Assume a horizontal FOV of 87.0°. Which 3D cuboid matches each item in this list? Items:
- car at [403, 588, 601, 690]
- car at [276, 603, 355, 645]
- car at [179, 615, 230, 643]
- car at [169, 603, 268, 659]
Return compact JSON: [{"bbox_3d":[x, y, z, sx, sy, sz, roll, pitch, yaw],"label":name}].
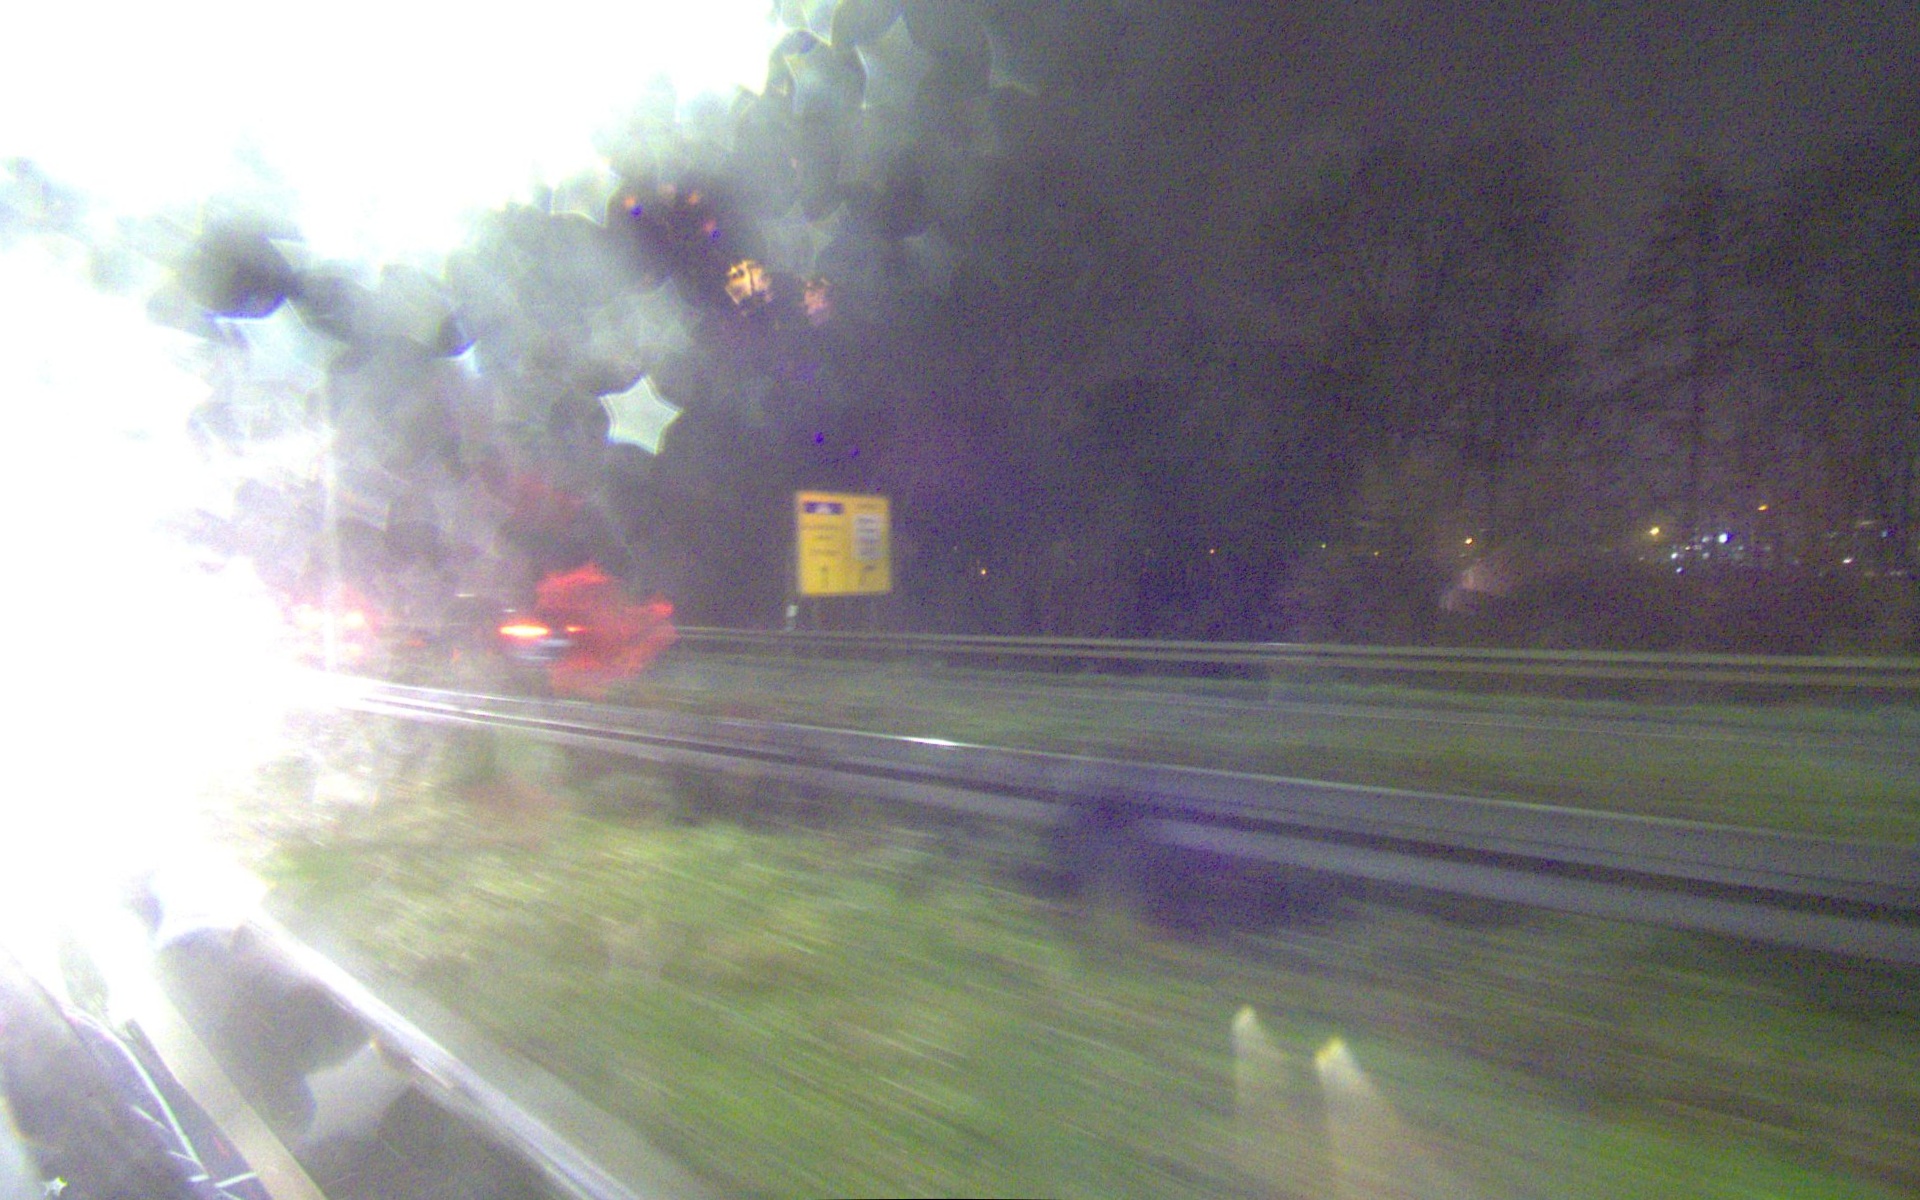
[{"bbox_3d":[-8.502,0.668,18.608,4.249,1.643,1.747,-1,0,42],"label":"car"},{"bbox_3d":[-23.999,0.891,37.619,1.691,1.434,4.673,-1,0,-42],"label":"car"},{"bbox_3d":[-43.567,1.664,58.309,1.969,1.519,4.846,-1,0,-42],"label":"car"},{"bbox_3d":[-23.846,0.936,32.492,4.249,1.619,1.849,0,1,44],"label":"car"}]
